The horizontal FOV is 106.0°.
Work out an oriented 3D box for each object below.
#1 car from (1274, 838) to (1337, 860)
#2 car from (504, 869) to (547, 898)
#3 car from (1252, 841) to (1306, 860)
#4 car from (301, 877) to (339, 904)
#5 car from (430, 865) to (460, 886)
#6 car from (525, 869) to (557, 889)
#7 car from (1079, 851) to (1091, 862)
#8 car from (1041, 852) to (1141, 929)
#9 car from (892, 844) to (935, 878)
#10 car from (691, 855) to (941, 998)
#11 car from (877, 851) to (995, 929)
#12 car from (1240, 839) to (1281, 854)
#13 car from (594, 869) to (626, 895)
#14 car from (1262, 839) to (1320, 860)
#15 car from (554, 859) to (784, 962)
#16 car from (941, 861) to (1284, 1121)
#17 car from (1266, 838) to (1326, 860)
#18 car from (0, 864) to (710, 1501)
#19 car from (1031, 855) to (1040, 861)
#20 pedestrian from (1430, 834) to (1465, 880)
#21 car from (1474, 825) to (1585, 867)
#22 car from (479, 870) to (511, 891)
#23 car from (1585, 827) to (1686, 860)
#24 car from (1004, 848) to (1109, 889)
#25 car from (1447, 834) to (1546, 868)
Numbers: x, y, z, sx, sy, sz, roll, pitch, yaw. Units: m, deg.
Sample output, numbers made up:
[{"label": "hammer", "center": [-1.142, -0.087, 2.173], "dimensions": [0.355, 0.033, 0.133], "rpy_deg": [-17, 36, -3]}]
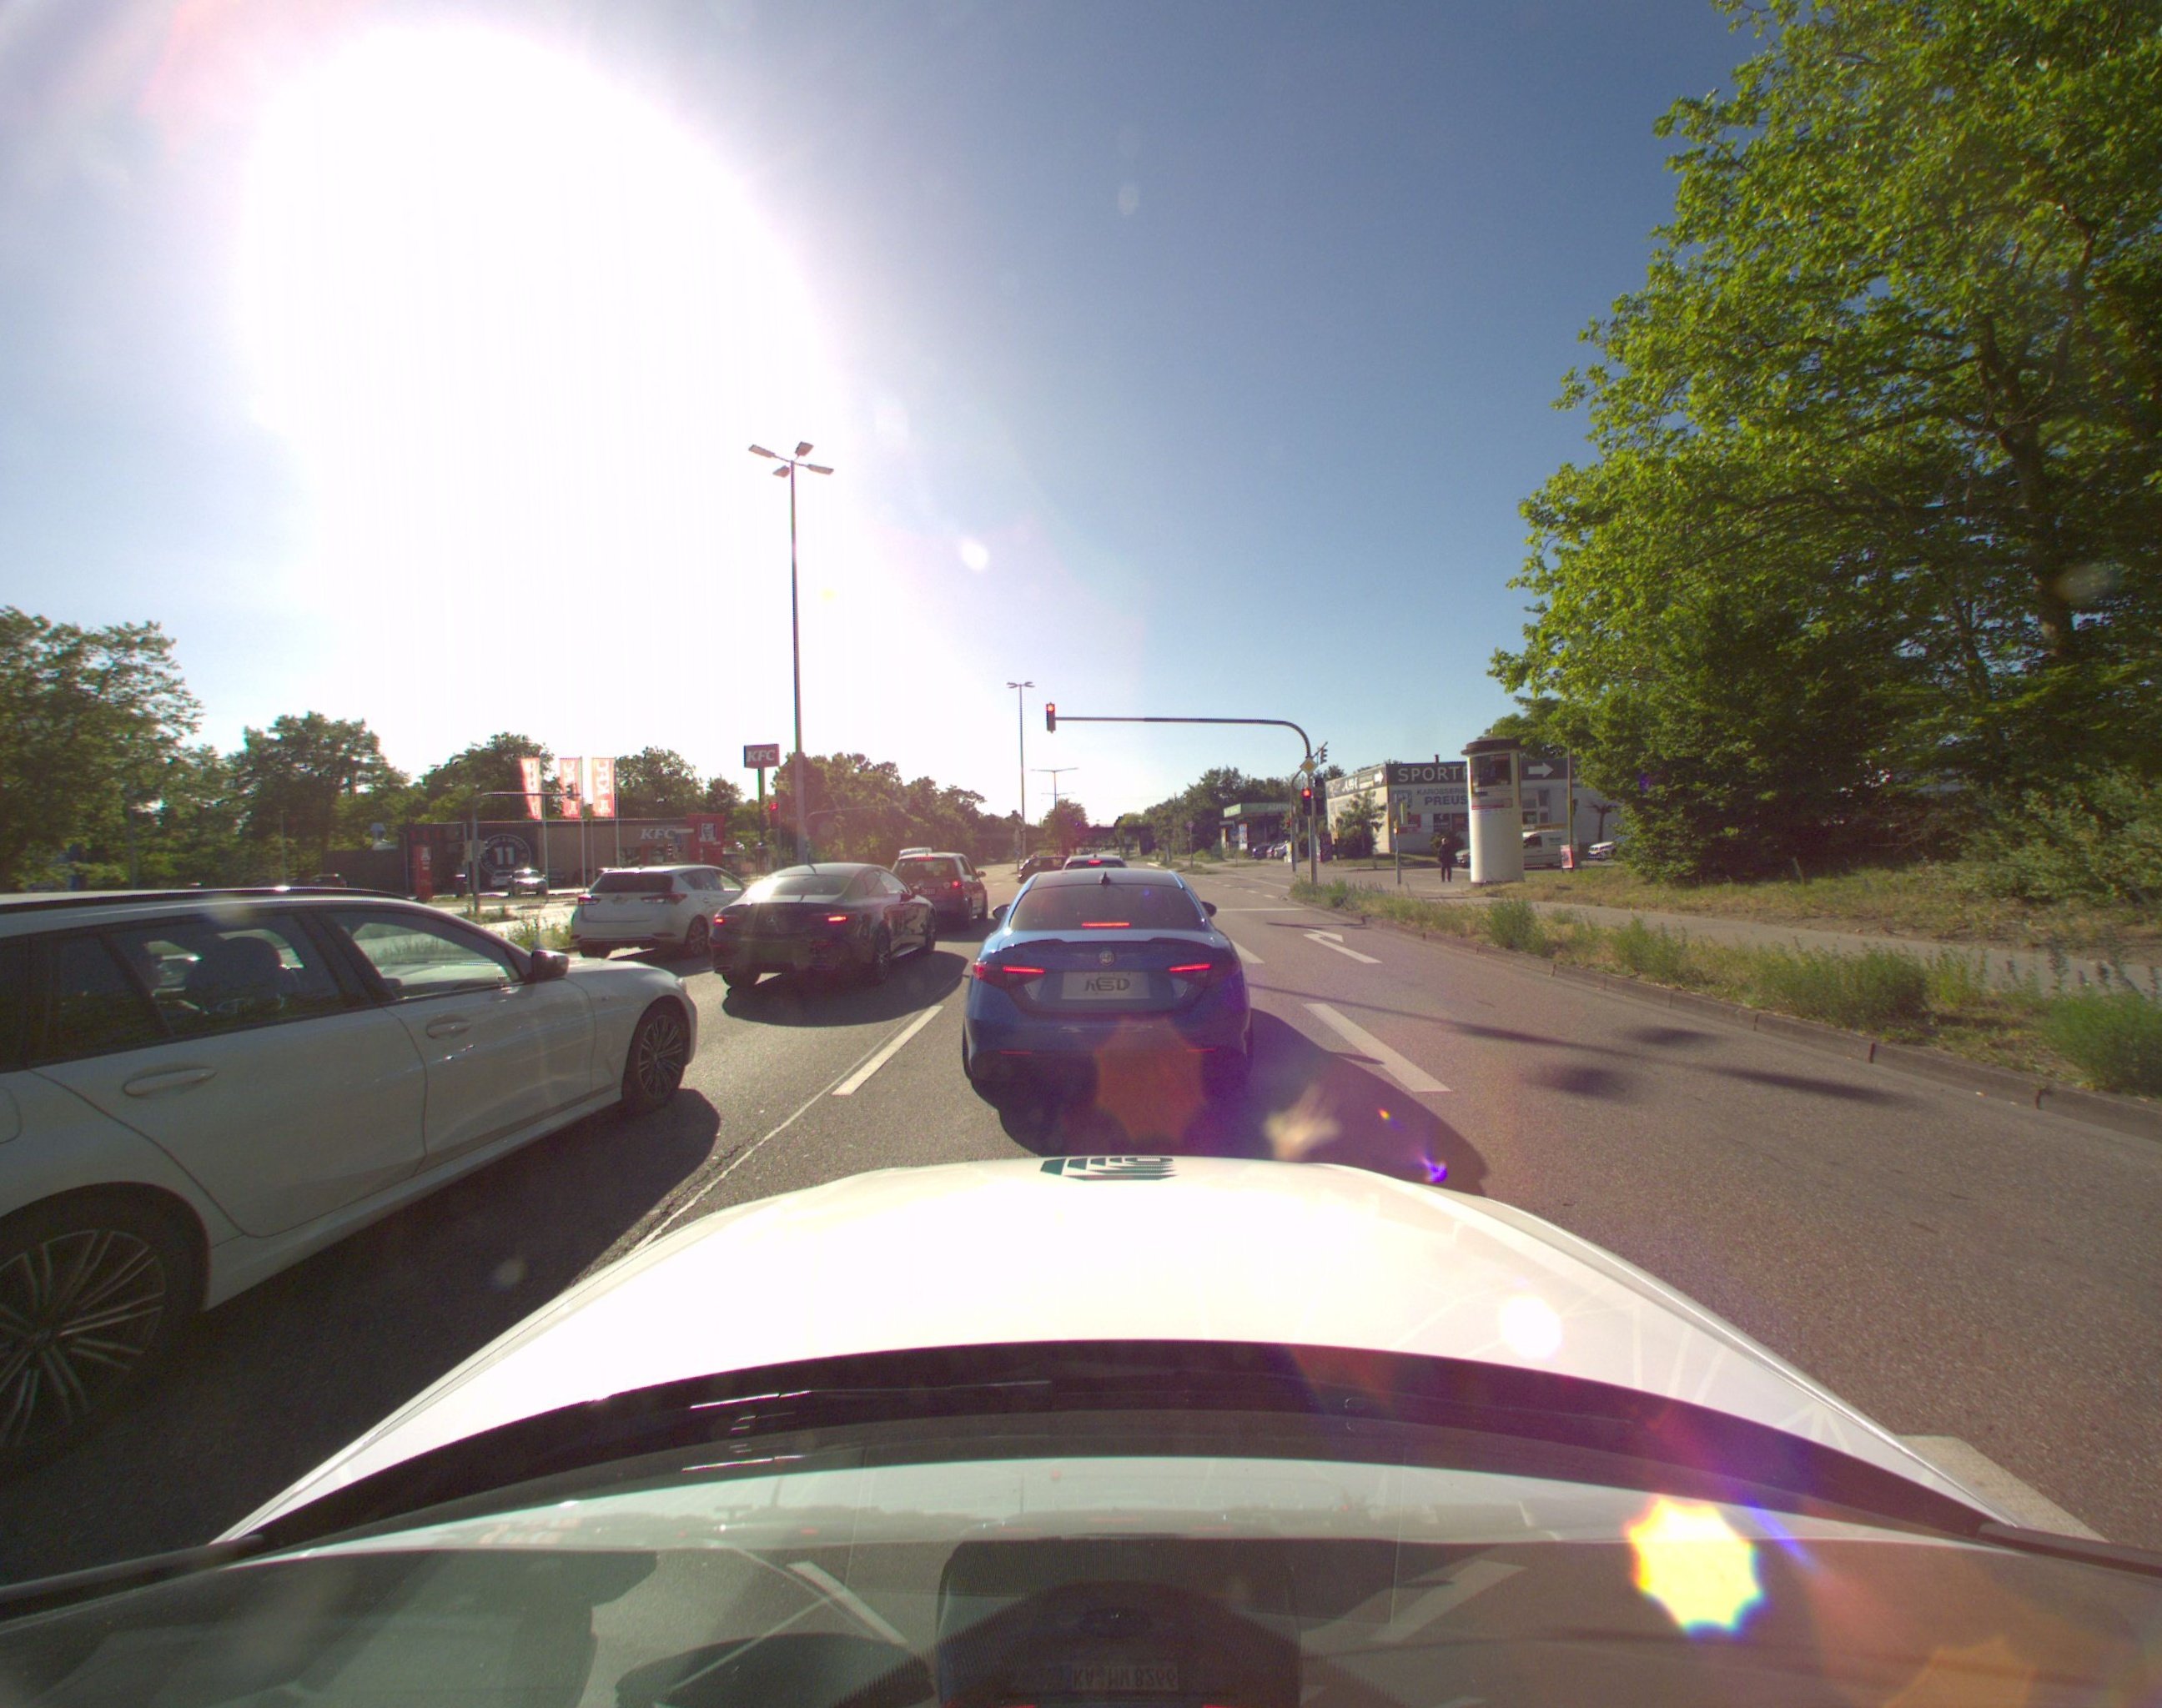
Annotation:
[{"label": "car", "center": [17.697, -0.414, 64.319], "dimensions": [4.470, 1.454, 1.860], "rpy_deg": [-4, 0, 3]}, {"label": "car", "center": [-37.341, 1.950, 54.856], "dimensions": [2.005, 1.765, 4.315], "rpy_deg": [0, -1, -29]}, {"label": "car", "center": [17.939, -0.343, 73.903], "dimensions": [4.470, 1.454, 1.860], "rpy_deg": [-4, 0, 3]}, {"label": "car", "center": [-52.377, 2.477, 56.089], "dimensions": [1.670, 1.673, 3.897], "rpy_deg": [0, -1, -40]}, {"label": "car", "center": [-47.643, 1.577, 60.984], "dimensions": [1.670, 1.471, 3.872], "rpy_deg": [0, -1, -40]}, {"label": "car", "center": [-43.151, 1.970, 65.054], "dimensions": [1.670, 1.471, 3.872], "rpy_deg": [0, -1, -40]}, {"label": "car", "center": [0.729, 0.439, 146.437], "dimensions": [1.884, 1.816, 4.001], "rpy_deg": [0, -1, 2]}, {"label": "car", "center": [0.214, 0.698, 17.354], "dimensions": [1.844, 1.418, 4.403], "rpy_deg": [0, -1, 1]}, {"label": "car", "center": [-13.710, 0.567, 67.219], "dimensions": [2.015, 2.447, 5.823], "rpy_deg": [-5, 0, 1]}, {"label": "car", "center": [-3.173, 0.783, 10.806], "dimensions": [1.790, 1.490, 4.476], "rpy_deg": [0, -1, 1]}, {"label": "car", "center": [-3.028, 0.719, 17.909], "dimensions": [1.753, 1.490, 4.403], "rpy_deg": [0, -1, 1]}, {"label": "car", "center": [21.381, -0.867, 97.012], "dimensions": [4.532, 1.490, 1.766], "rpy_deg": [-4, 0, 3]}, {"label": "car", "center": [-33.672, 1.945, 58.335], "dimensions": [1.920, 1.752, 4.315], "rpy_deg": [0, -1, -29]}, {"label": "car", "center": [17.980, -0.371, 69.849], "dimensions": [4.470, 1.454, 1.860], "rpy_deg": [-4, 0, 3]}, {"label": "car", "center": [-6.753, 0.837, 13.936], "dimensions": [1.753, 1.490, 4.197], "rpy_deg": [0, -1, 1]}, {"label": "car", "center": [0.204, 0.775, 6.711], "dimensions": [1.889, 1.418, 4.403], "rpy_deg": [0, -1, 1]}, {"label": "car", "center": [17.703, -0.400, 67.100], "dimensions": [4.470, 1.454, 1.860], "rpy_deg": [-4, 0, 3]}, {"label": "car", "center": [-3.430, 0.802, 3.301], "dimensions": [1.779, 1.490, 4.403], "rpy_deg": [0, -1, 1]}, {"label": "car", "center": [-11.225, 0.941, 201.137], "dimensions": [1.752, 1.490, 4.480], "rpy_deg": [-3, 0, 2]}, {"label": "pedestrian", "center": [14.207, 0.108, 31.611], "dimensions": [0.922, 1.735, 0.939], "rpy_deg": [0, -1, 1]}, {"label": "car", "center": [21.601, -0.388, 39.334], "dimensions": [4.367, 1.801, 1.765], "rpy_deg": [-3, 1, 0]}, {"label": "car", "center": [-45.643, 2.038, 63.401], "dimensions": [1.670, 1.471, 3.872], "rpy_deg": [0, -1, -40]}, {"label": "car", "center": [29.096, -0.537, 42.796], "dimensions": [4.028, 1.490, 1.782], "rpy_deg": [-3, 0, -1]}, {"label": "car", "center": [-1.027, 0.621, 36.053], "dimensions": [4.392, 1.490, 1.766], "rpy_deg": [-4, 0, 3]}, {"label": "car", "center": [21.762, -0.191, 42.711], "dimensions": [4.273, 1.549, 1.765], "rpy_deg": [-3, 1, 0]}]
